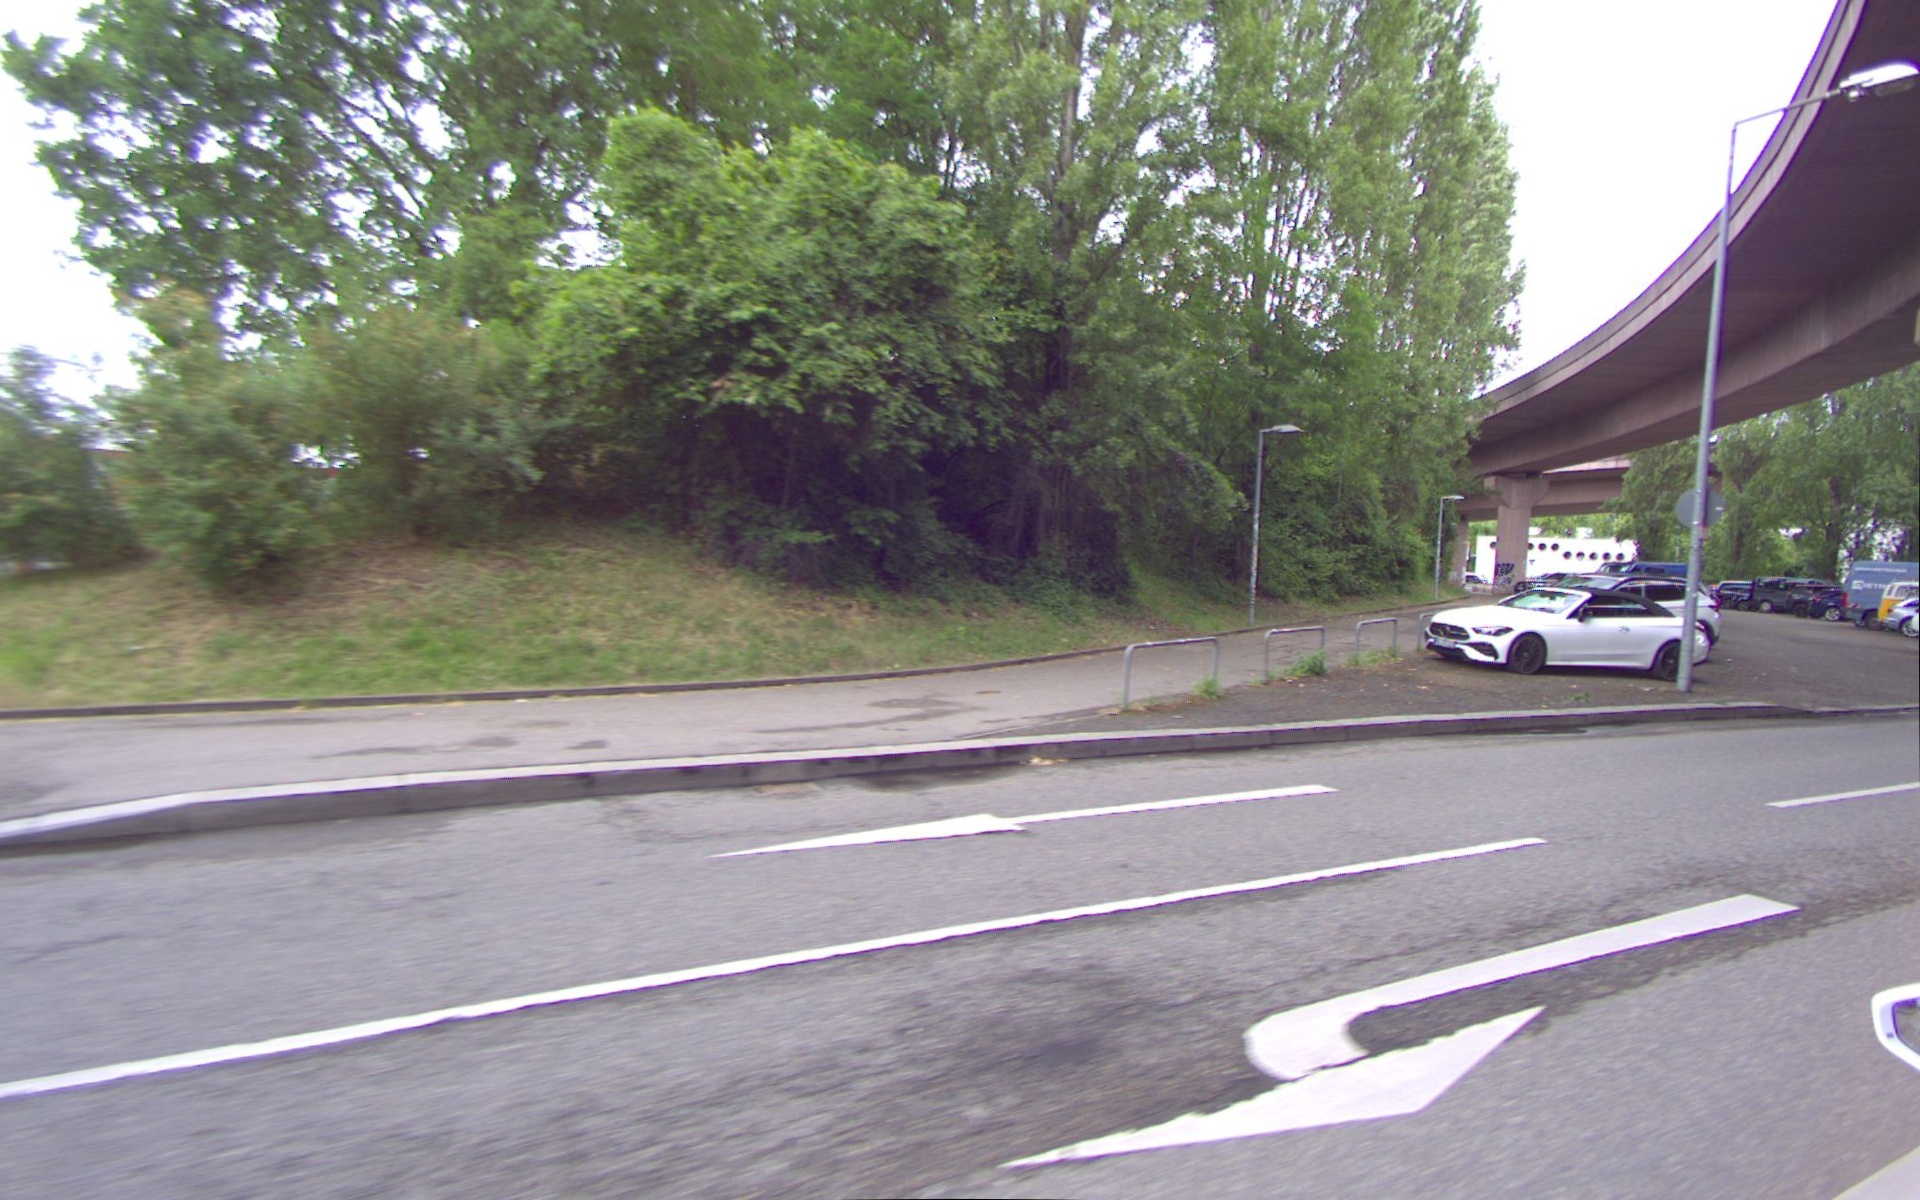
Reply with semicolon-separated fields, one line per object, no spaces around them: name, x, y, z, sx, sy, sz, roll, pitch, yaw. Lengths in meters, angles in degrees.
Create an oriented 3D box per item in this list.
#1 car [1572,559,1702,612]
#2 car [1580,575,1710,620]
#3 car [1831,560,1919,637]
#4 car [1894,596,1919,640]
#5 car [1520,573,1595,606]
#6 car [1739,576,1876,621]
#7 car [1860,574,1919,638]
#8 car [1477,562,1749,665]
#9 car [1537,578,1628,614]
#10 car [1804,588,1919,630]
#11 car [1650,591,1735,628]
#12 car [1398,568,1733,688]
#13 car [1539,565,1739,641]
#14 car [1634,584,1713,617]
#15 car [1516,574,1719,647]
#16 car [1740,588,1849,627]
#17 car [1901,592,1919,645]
car;31.592;-0.680;46.922;4.930;2.285;2.119;2;1;-12
car;27.670;-0.109;40.661;4.077;1.698;1.899;2;1;-7
car;36.584;0.043;37.069;2.337;2.762;6.151;1;3;-27
car;33.157;0.770;32.186;1.971;1.390;4.235;1;4;-21
car;37.953;-0.676;63.813;4.015;1.735;1.653;4;4;-15
car;45.244;-0.133;53.773;2.232;2.099;5.068;3;1;-28
car;34.603;0.302;34.865;1.825;2.140;4.543;1;3;-24
car;13.166;0.245;20.377;4.324;1.604;1.995;4;6;-12
car;36.021;-0.259;58.158;4.222;1.825;1.844;-3;1;-8
car;41.336;0.407;45.976;2.007;1.763;3.948;1;1;-43
car;45.429;0.565;62.327;1.986;2.041;3.948;0;2;-43
car;10.356;0.460;17.321;4.746;1.499;1.995;4;5;-13
car;17.747;0.051;26.352;4.089;1.714;1.859;3;2;-9
car;47.658;0.035;67.124;1.986;2.041;3.948;1;2;-43
car;15.321;0.230;23.489;3.679;1.473;1.789;2;2;-9
car;41.234;0.343;49.681;1.986;1.753;3.948;1;1;-43
car;31.179;0.762;29.721;1.924;1.628;4.374;2;4;-19
